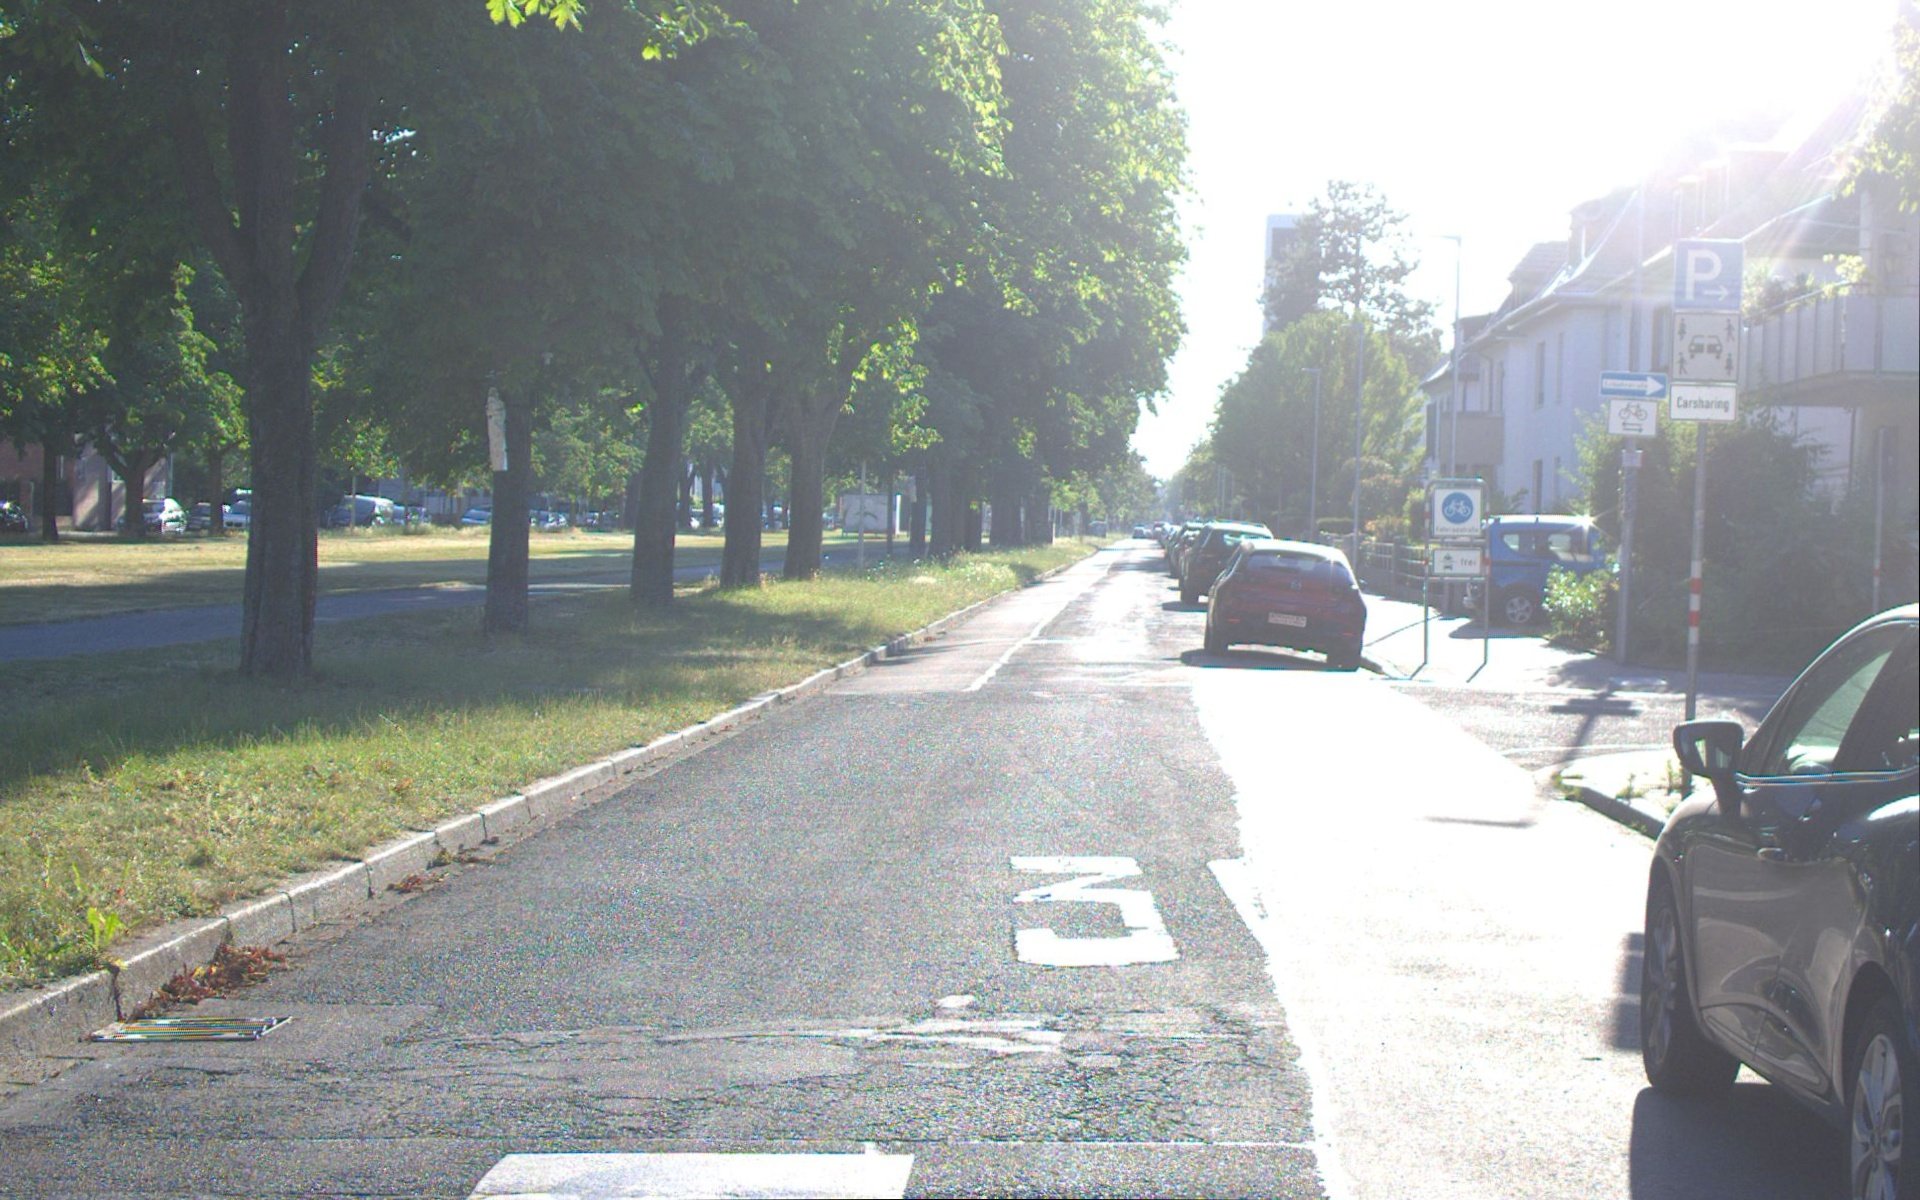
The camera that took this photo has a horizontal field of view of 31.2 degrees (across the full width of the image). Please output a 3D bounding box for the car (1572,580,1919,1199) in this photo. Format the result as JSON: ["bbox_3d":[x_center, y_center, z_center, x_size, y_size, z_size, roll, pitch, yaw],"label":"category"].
[{"bbox_3d":[2.770,0.785,8.576,1.726,1.505,4.540,4,1,2],"label":"car"}]

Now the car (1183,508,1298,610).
[{"bbox_3d":[5.492,-0.833,67.731,1.994,1.775,4.000,4,2,2],"label":"car"}]

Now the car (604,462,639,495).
[{"bbox_3d":[-21.755,-7.810,220.952,1.654,1.931,3.567,4,0,2],"label":"car"}]

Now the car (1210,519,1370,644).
[{"bbox_3d":[3.986,-0.252,42.041,1.710,1.355,4.203,4,1,3],"label":"car"}]

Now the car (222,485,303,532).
[{"bbox_3d":[-27.325,-3.575,134.753,2.023,1.653,3.983,4,1,4],"label":"car"}]

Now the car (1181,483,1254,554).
[{"bbox_3d":[7.930,-2.510,106.247,1.994,2.007,4.000,4,1,2],"label":"car"}]

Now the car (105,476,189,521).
[{"bbox_3d":[-33.256,-4.142,140.780,1.994,1.653,4.354,4,1,5],"label":"car"}]

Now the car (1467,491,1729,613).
[{"bbox_3d":[10.529,-0.776,56.888,3.987,1.816,1.760,1,-4,-1],"label":"car"}]

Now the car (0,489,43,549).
[{"bbox_3d":[-29.421,-2.482,104.193,1.812,1.775,4.122,4,1,4],"label":"car"}]

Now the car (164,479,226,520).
[{"bbox_3d":[-32.994,-4.330,148.347,1.639,1.637,3.854,4,1,1],"label":"car"}]

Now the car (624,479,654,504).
[{"bbox_3d":[-22.177,-7.504,237.413,1.612,1.533,3.355,4,0,1],"label":"car"}]
